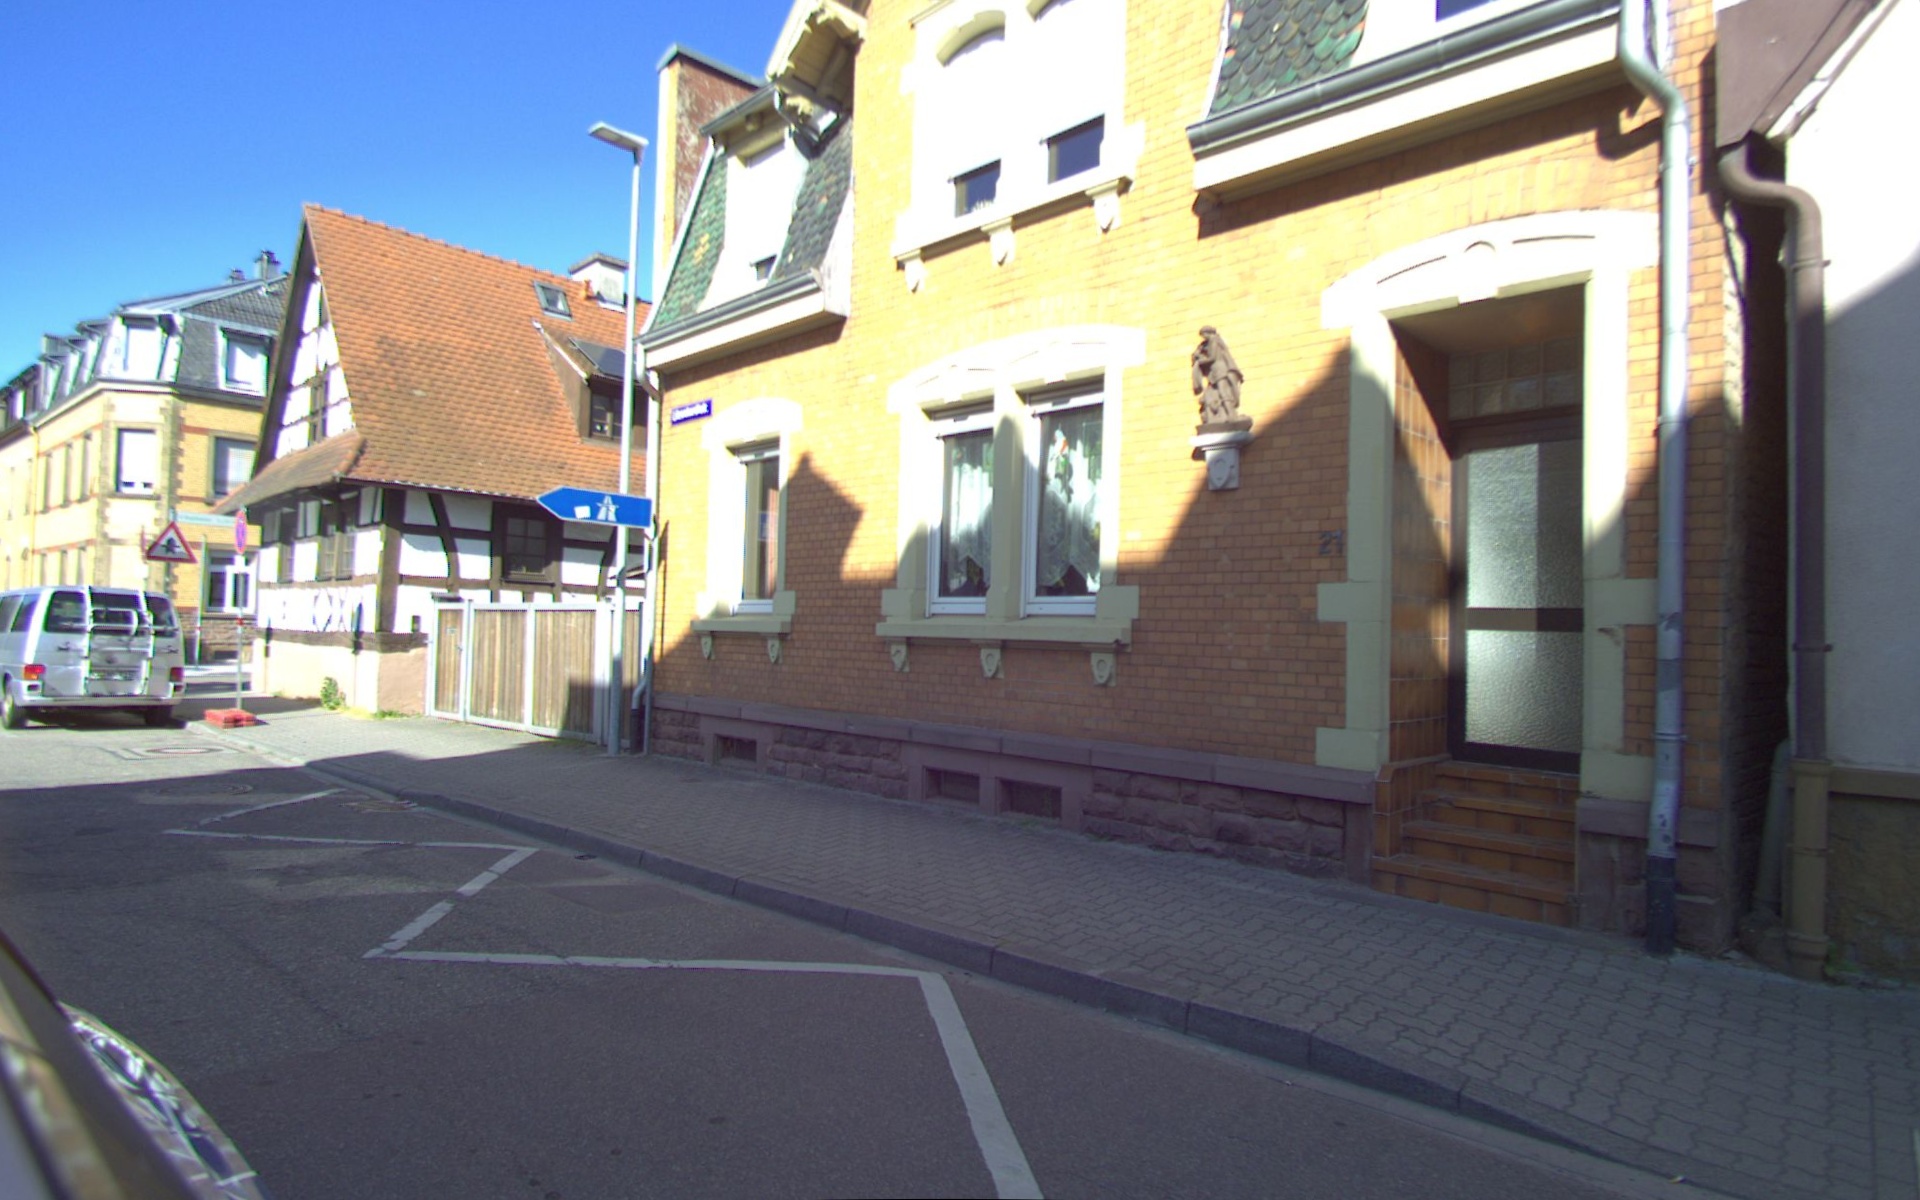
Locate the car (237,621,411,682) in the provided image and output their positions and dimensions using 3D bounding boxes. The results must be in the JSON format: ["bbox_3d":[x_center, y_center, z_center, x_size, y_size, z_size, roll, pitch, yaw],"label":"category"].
[{"bbox_3d":[-18.333,1.508,29.271,3.956,1.556,1.718,4,-1,-43],"label":"car"}]

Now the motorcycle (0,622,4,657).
[{"bbox_3d":[-35.972,1.438,37.149,2.252,1.262,0.838,0,0,35],"label":"motorcycle"}]

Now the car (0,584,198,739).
[{"bbox_3d":[-13.019,0.805,14.581,4.826,1.895,1.858,0,-3,36],"label":"car"}]
